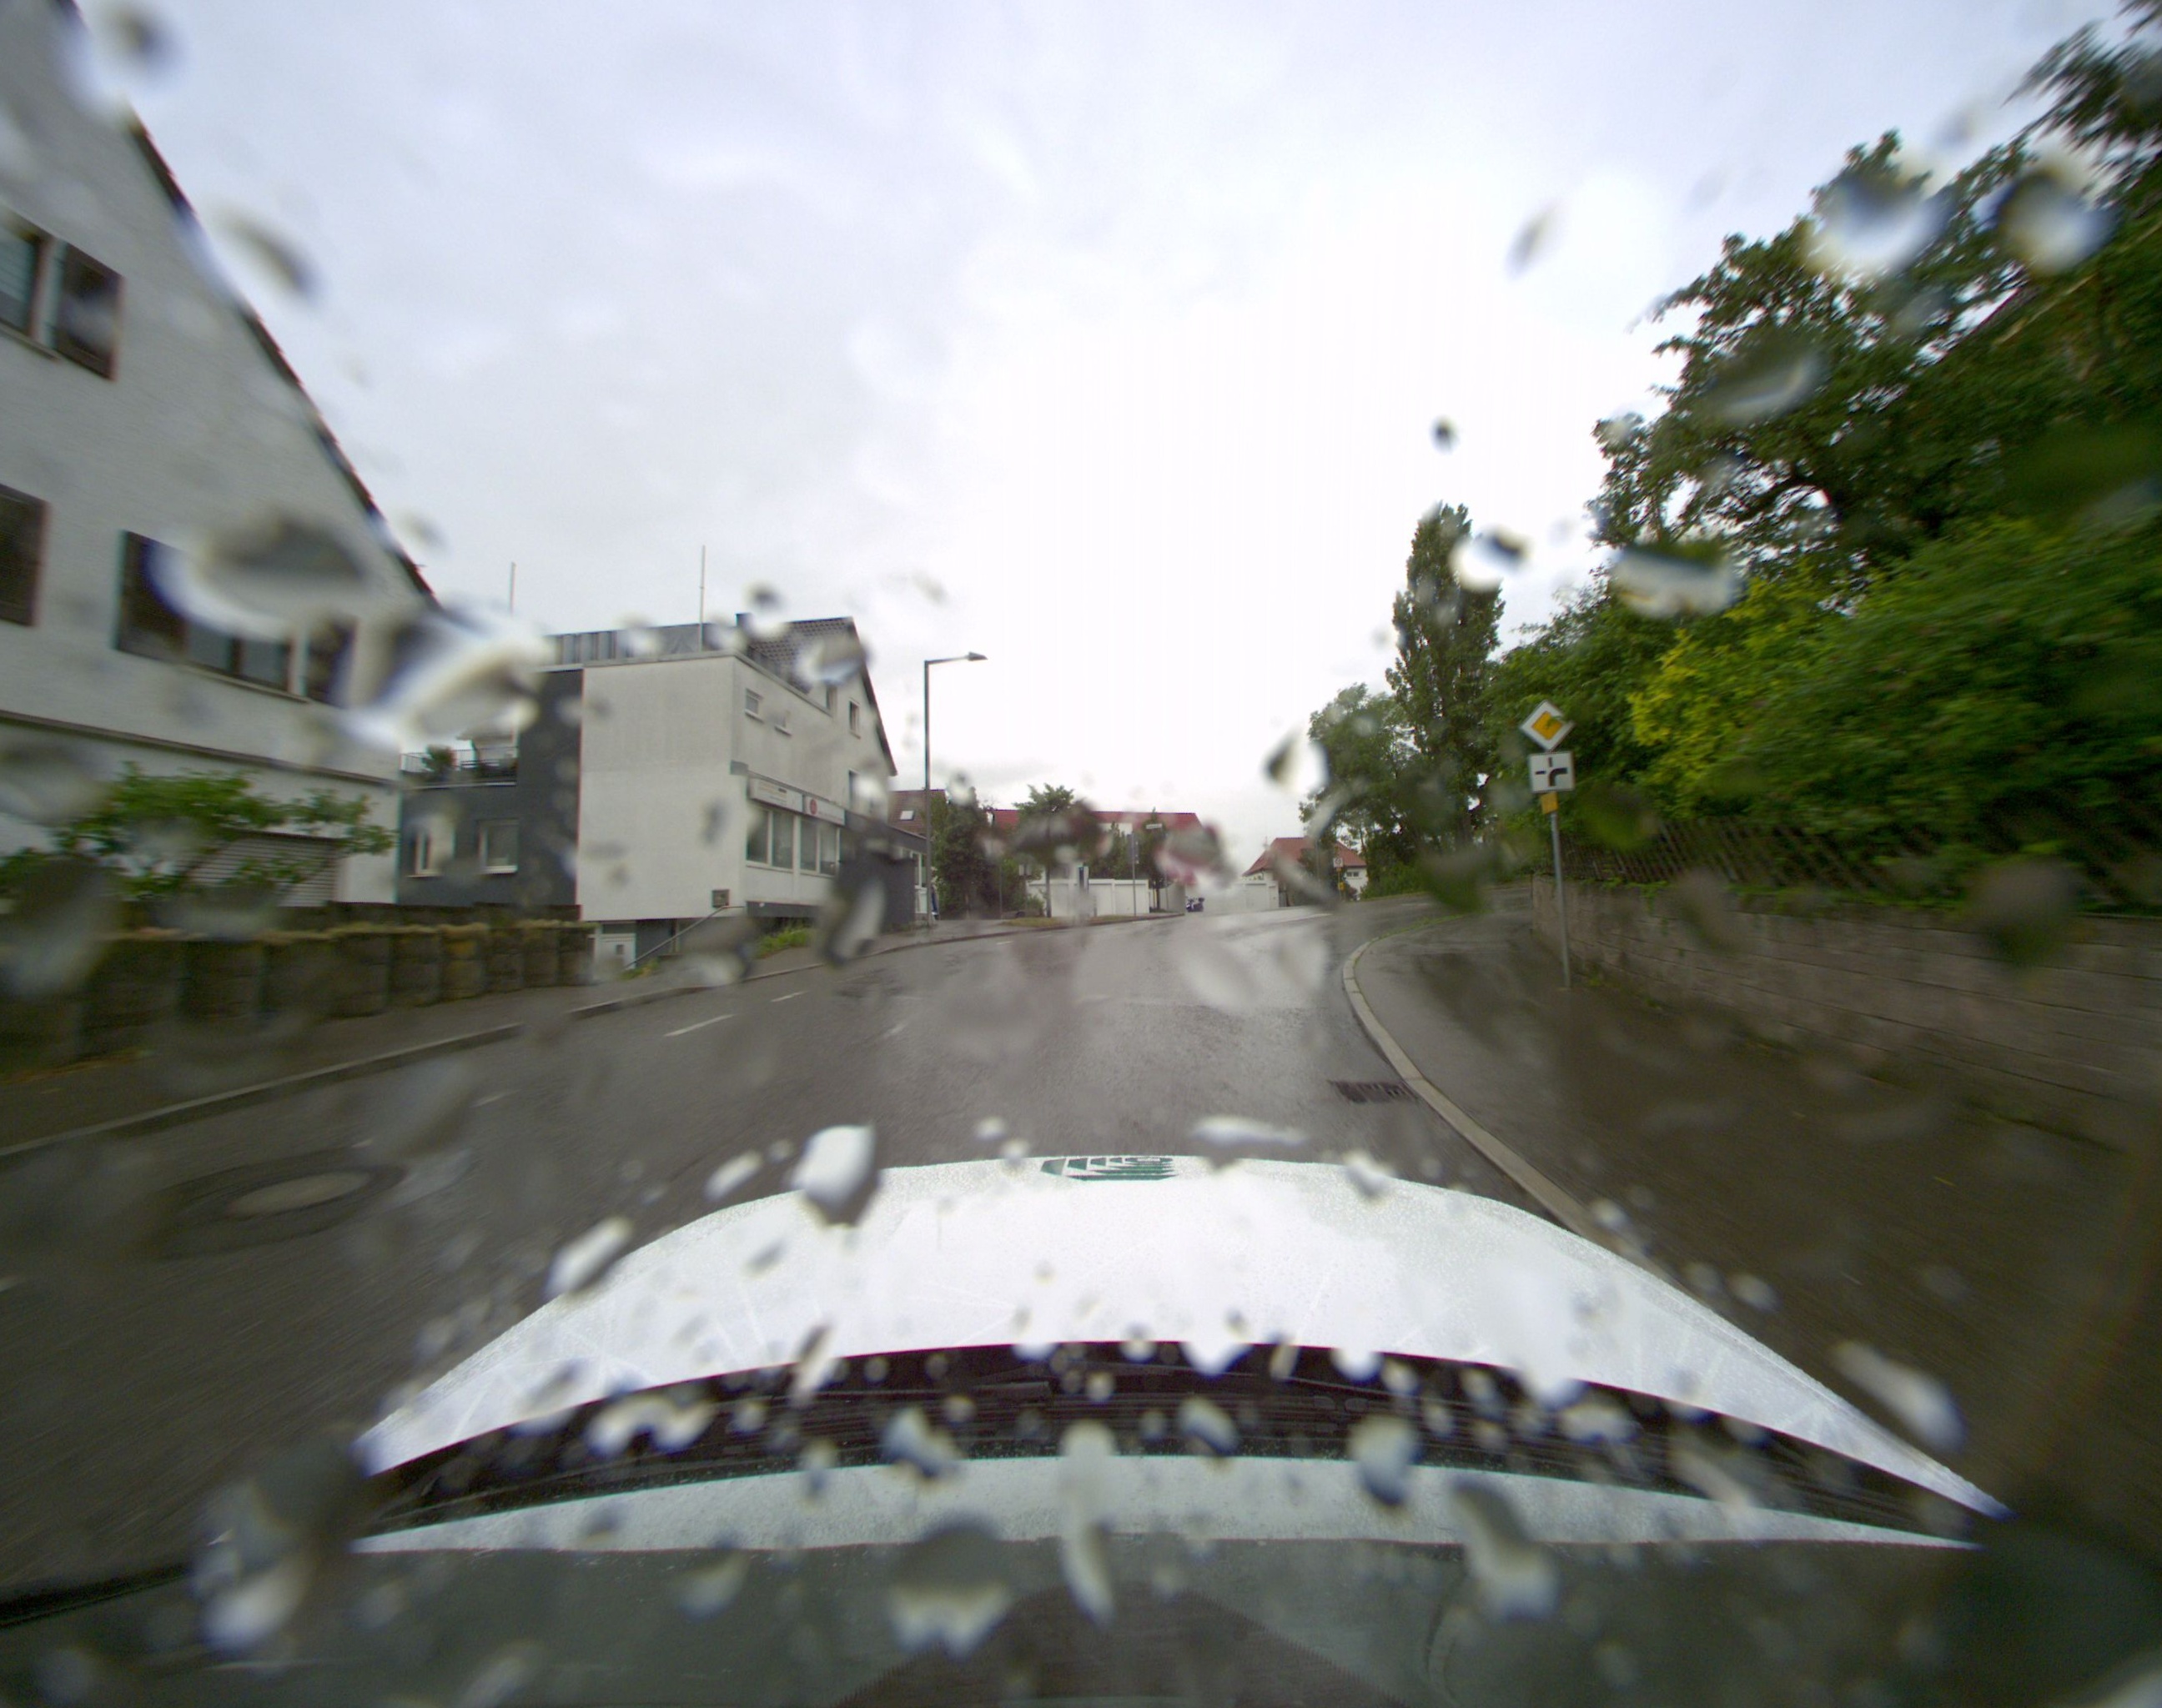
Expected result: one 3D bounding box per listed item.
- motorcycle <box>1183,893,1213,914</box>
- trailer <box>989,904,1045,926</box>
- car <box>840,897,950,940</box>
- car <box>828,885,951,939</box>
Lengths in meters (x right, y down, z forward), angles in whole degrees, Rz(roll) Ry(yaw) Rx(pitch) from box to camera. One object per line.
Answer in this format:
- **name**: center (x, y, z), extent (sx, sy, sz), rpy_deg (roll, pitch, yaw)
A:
- **motorcycle**: center (7.991, 3.385, 55.547), extent (2.057, 1.322, 0.700), rpy_deg (0, -5, -41)
- **trailer**: center (-3.596, 3.416, 45.819), extent (2.799, 1.007, 1.596), rpy_deg (-5, -3, 6)
- **car**: center (-9.061, 3.160, 39.985), extent (4.756, 1.706, 2.069), rpy_deg (-4, -4, 4)
- **car**: center (-10.625, 3.247, 45.486), extent (6.213, 2.524, 2.190), rpy_deg (-4, -4, 0)
